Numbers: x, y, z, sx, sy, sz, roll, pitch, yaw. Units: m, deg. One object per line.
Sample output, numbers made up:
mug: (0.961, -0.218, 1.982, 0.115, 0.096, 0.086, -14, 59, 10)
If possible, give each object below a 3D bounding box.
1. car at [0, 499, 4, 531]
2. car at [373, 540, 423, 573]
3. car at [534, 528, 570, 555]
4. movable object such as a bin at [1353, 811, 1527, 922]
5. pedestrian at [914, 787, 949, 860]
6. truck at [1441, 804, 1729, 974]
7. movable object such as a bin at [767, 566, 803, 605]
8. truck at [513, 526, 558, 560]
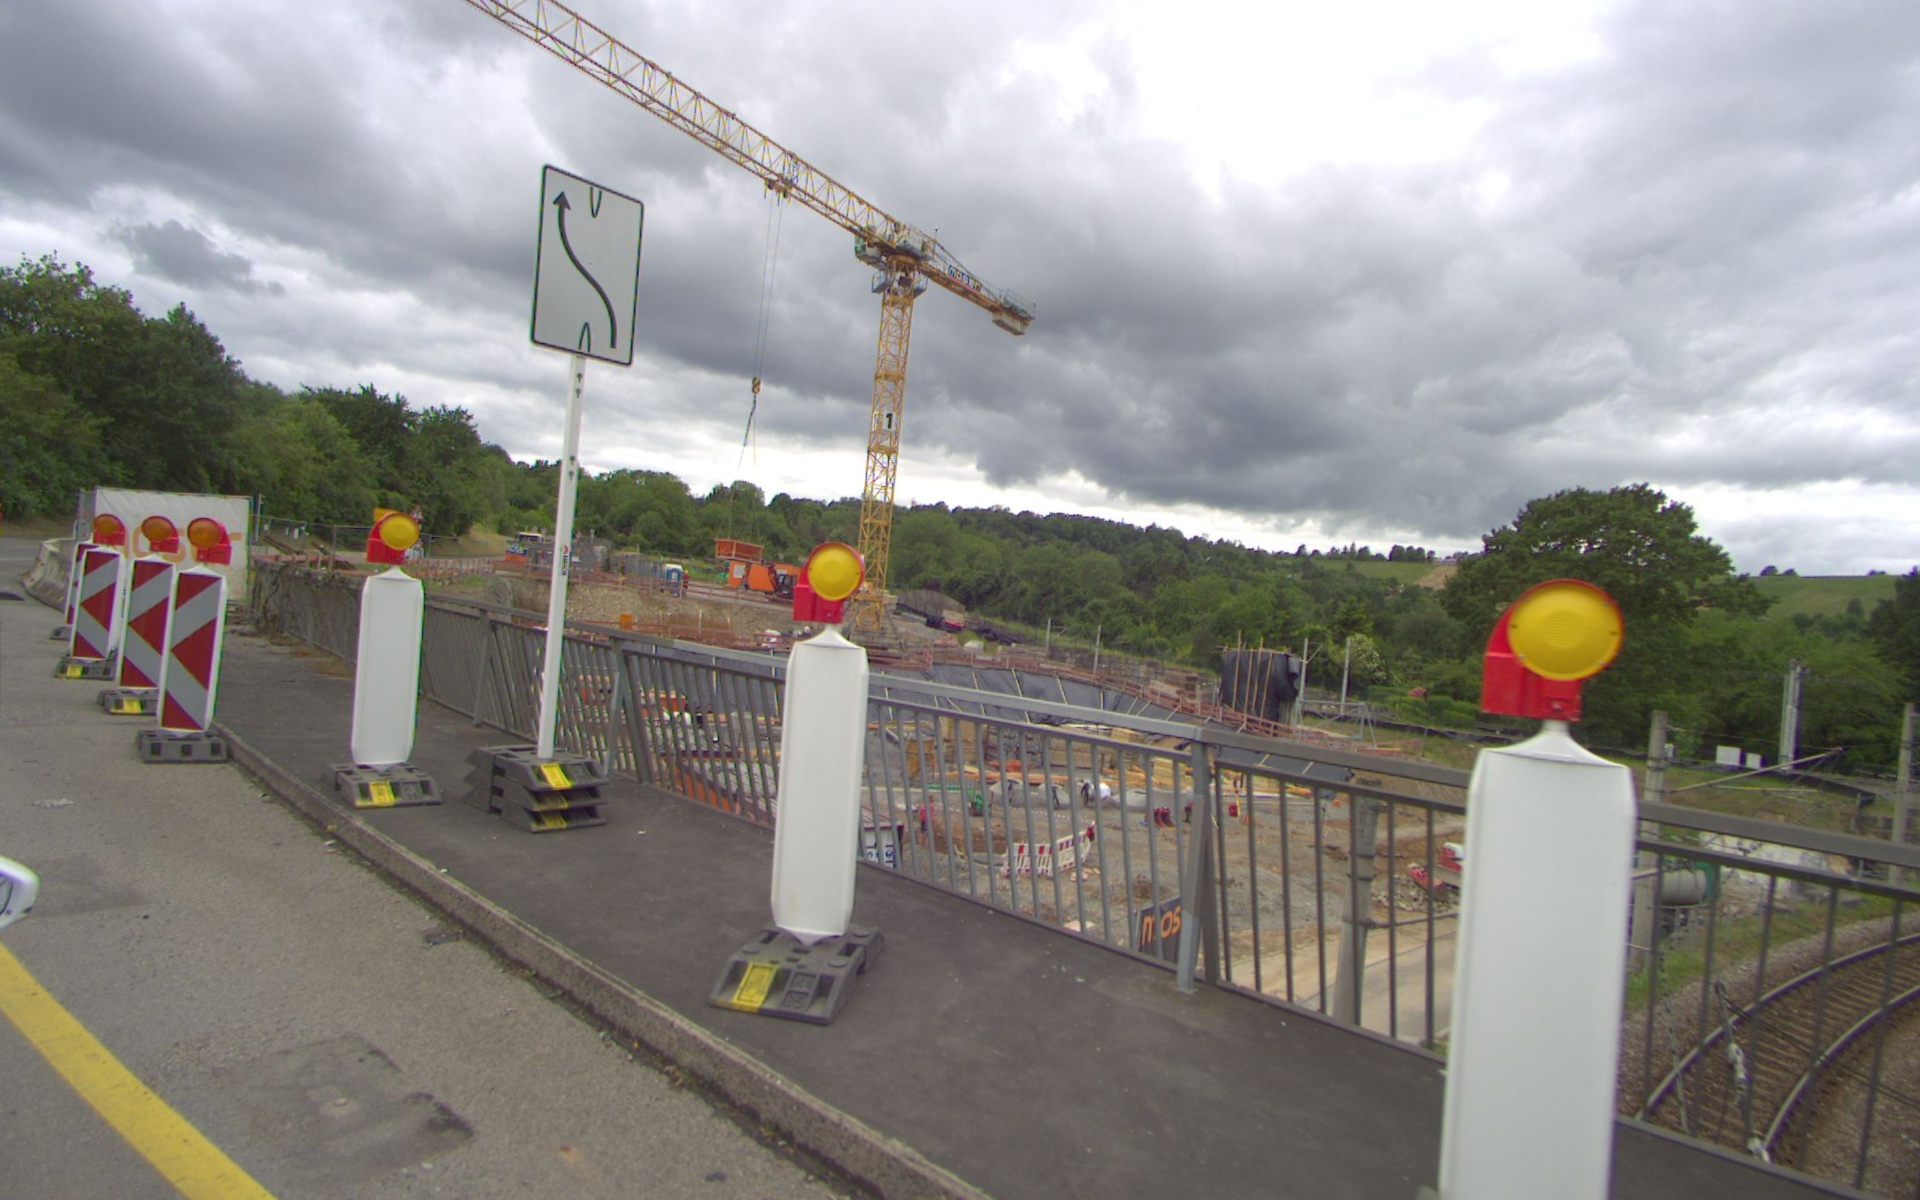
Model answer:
car: (-29.617, -2.421, 28.638, 1.614, 1.563, 4.336, 7, -2, -18)
car: (-34.356, -2.617, 61.548, 1.690, 1.696, 3.988, 5, -1, -16)
car: (-36.467, -5.214, 90.032, 1.965, 2.039, 3.994, 5, -1, -9)
movable object such as a bin: (16.478, 9.131, 34.679, 4.224, 2.781, 3.038, 8, -1, -16)
pedestrian: (-0.870, 6.771, 30.600, 0.696, 2.037, 0.798, 4, -3, -32)
truck: (19.566, 8.597, 31.008, 11.512, 3.938, 2.822, 9, -2, -34)
movable object such as a bin: (-15.019, -1.244, 86.203, 2.754, 3.116, 1.836, 5, 0, -13)
truck: (-47.902, -6.378, 113.739, 2.781, 3.379, 8.359, 5, 1, -11)
